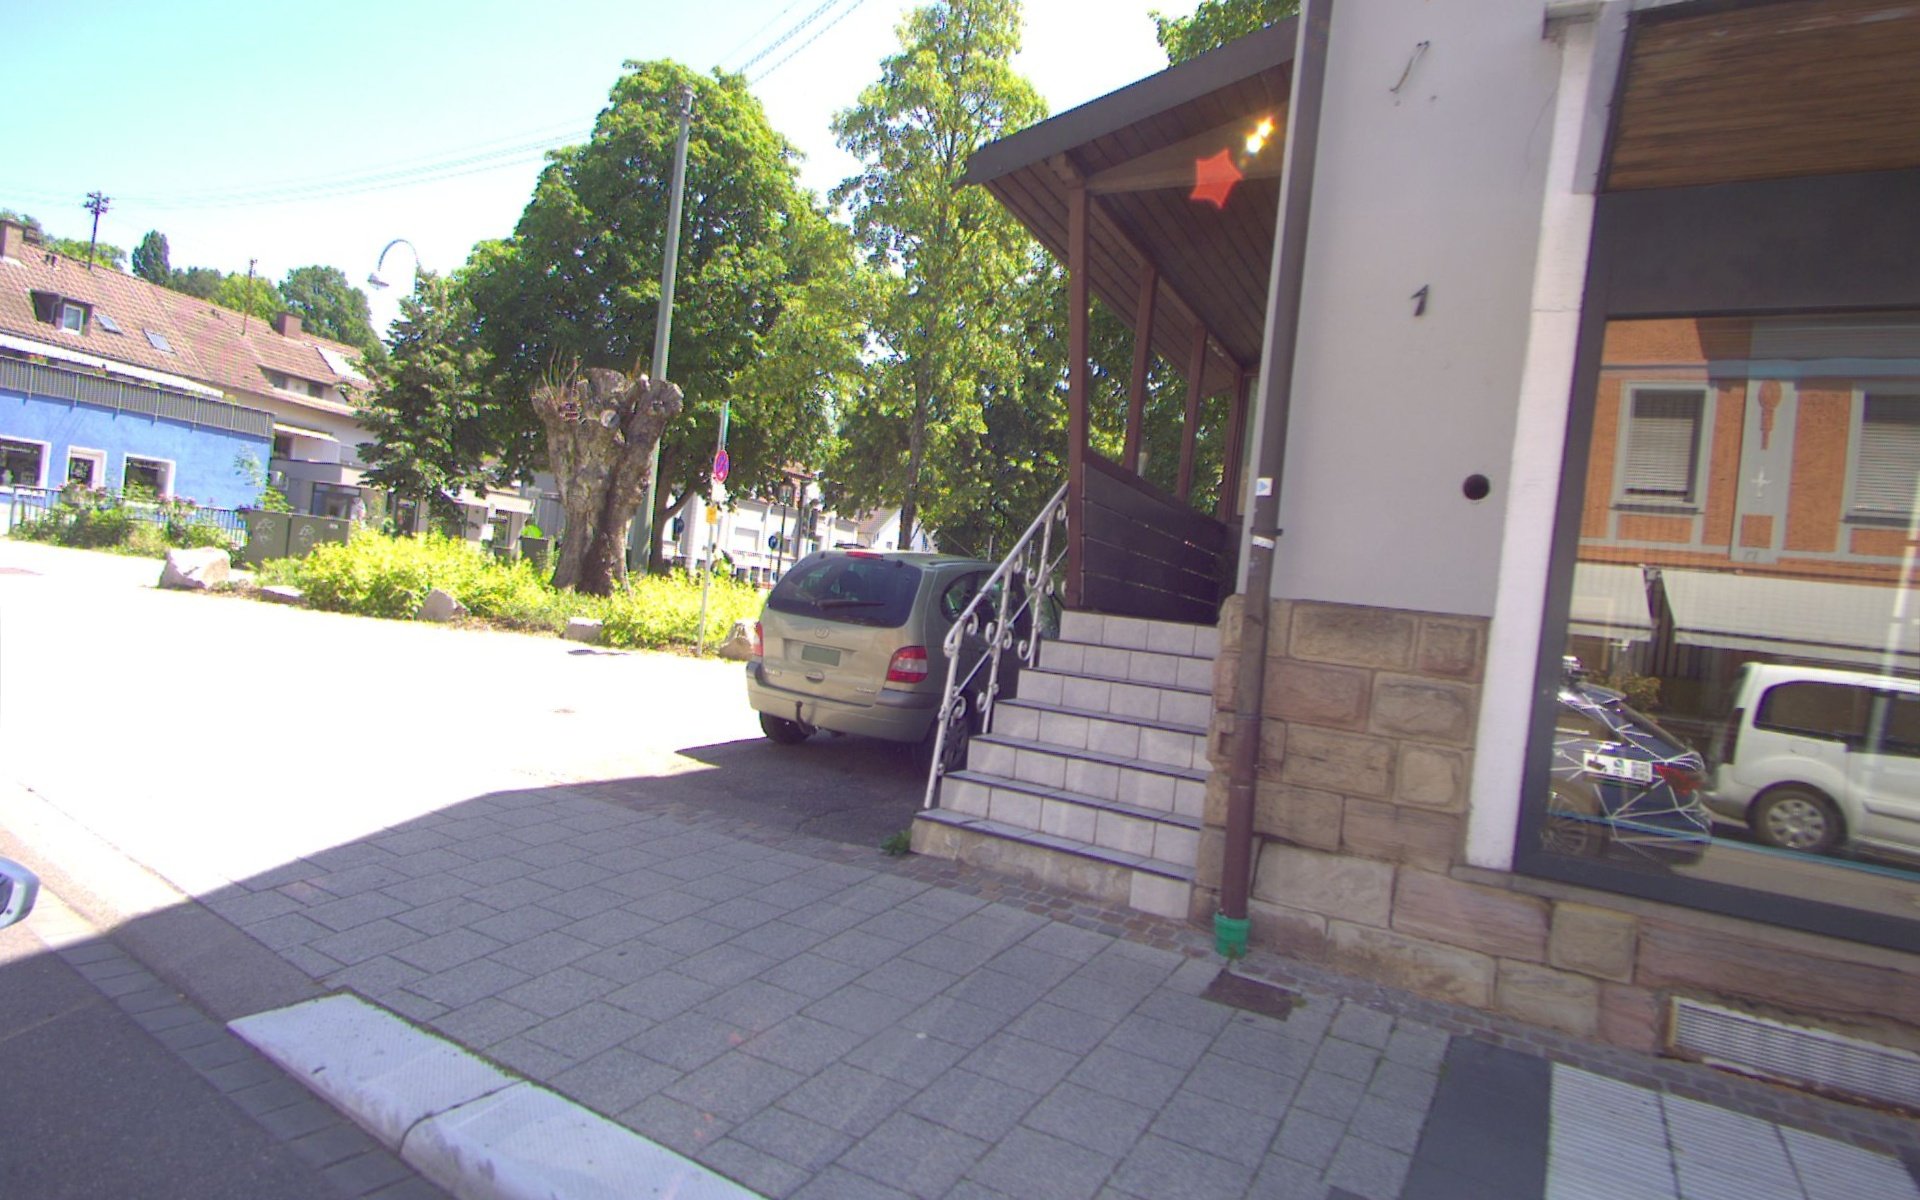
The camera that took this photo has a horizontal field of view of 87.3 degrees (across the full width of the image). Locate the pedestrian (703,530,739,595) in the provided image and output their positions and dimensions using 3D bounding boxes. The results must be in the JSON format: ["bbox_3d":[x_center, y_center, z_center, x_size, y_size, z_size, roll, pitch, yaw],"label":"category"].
[{"bbox_3d":[-6.409,-1.002,26.987,0.706,1.653,0.745,6,2,-9],"label":"pedestrian"}]

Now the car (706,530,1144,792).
[{"bbox_3d":[-0.032,0.425,8.717,1.772,1.616,4.062,6,2,31],"label":"car"}]

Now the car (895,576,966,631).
[{"bbox_3d":[-1.012,0.061,32.638,1.645,1.472,3.754,6,1,-10],"label":"car"}]

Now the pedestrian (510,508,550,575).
[{"bbox_3d":[-12.352,-1.684,28.880,0.671,1.824,0.734,9,4,44],"label":"pedestrian"}]

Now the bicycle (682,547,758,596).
[{"bbox_3d":[-6.415,-0.760,26.983,1.818,1.097,0.745,6,1,-9],"label":"bicycle"}]
